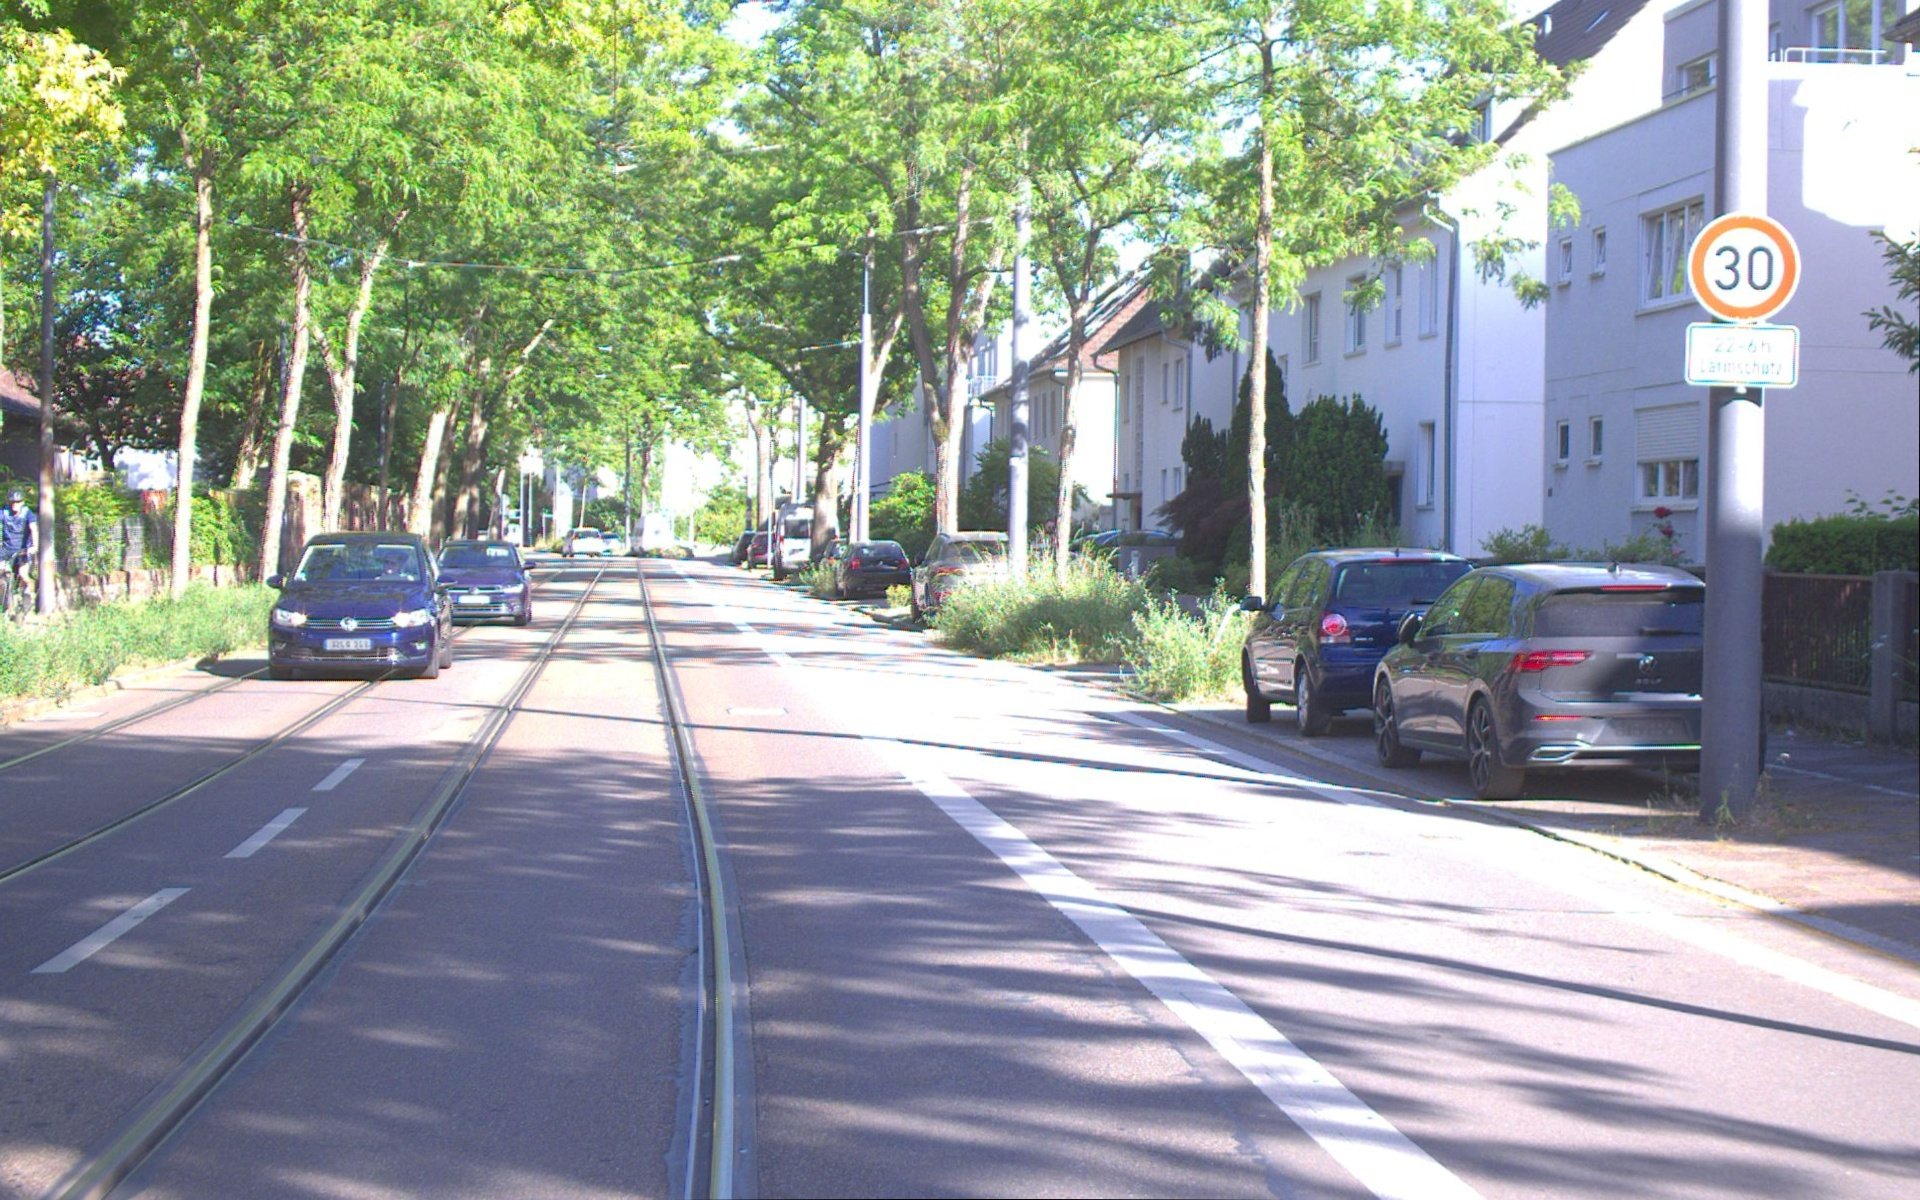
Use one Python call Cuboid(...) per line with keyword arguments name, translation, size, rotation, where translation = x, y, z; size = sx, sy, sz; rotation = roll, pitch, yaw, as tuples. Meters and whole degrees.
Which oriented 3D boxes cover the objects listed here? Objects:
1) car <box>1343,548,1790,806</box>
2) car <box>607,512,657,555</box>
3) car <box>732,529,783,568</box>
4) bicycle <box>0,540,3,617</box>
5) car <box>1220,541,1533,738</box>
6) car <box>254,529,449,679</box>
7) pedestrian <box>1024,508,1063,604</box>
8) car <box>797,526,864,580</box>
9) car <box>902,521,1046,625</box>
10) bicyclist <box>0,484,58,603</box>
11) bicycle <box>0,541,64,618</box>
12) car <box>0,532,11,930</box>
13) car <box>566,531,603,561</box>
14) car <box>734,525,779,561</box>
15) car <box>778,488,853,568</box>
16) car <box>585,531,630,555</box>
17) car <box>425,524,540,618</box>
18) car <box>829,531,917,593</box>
Cuboid(name="car", translation=(3.826, 0.416, 22.477), size=(1.748, 1.490, 4.444), rotation=(0, 1, -5))
Cuboid(name="car", translation=(-19.376, -3.923, 202.725), size=(1.993, 2.449, 4.510), rotation=(0, 1, -18))
Cuboid(name="car", translation=(-8.831, -2.260, 149.851), size=(2.002, 1.669, 4.393), rotation=(-1, 1, -6))
Cuboid(name="bicycle", translation=(-12.108, -0.250, 41.427), size=(0.711, 0.957, 2.095), rotation=(1, 1, -4))
Cuboid(name="car", translation=(3.348, 0.267, 28.372), size=(1.748, 1.490, 3.997), rotation=(0, 1, -5))
Cuboid(name="car", translation=(-6.560, 0.005, 37.409), size=(1.748, 1.519, 4.036), rotation=(1, 1, -5))
Cuboid(name="pedestrian", translation=(1.667, -0.878, 68.448), size=(0.625, 1.864, 0.732), rotation=(-2, 1, -6))
Cuboid(name="car", translation=(-3.654, -1.337, 96.605), size=(1.626, 1.393, 3.646), rotation=(-2, 2, -6))
Cuboid(name="car", translation=(0.206, -0.507, 60.627), size=(1.993, 1.698, 4.478), rotation=(-2, 1, -6))
Cuboid(name="bicyclist", translation=(-12.098, -0.734, 44.547), size=(0.593, 1.522, 1.061), rotation=(1, 1, -4))
Cuboid(name="bicycle", translation=(-12.104, -0.281, 44.515), size=(0.589, 0.957, 2.132), rotation=(1, 1, -4))
Cuboid(name="car", translation=(-4.570, 0.521, 10.877), size=(1.993, 1.519, 4.580), rotation=(1, 1, -2))
Cuboid(name="car", translation=(-21.161, -3.035, 193.597), size=(1.865, 1.669, 4.174), rotation=(0, 1, -9))
Cuboid(name="car", translation=(-9.897, -2.781, 167.439), size=(2.002, 1.669, 4.393), rotation=(-1, 1, -1))
Cuboid(name="car", translation=(-4.998, -2.484, 118.057), size=(2.245, 2.645, 5.586), rotation=(-1, 1, -6))
Cuboid(name="car", translation=(-22.607, -3.656, 220.275), size=(2.002, 1.555, 4.394), rotation=(0, 1, -18))
Cuboid(name="car", translation=(-8.097, -0.515, 58.581), size=(1.748, 1.519, 4.071), rotation=(1, 1, -5))
Cuboid(name="car", translation=(-2.226, -0.985, 87.071), size=(1.783, 1.443, 4.302), rotation=(-2, 2, -7))
